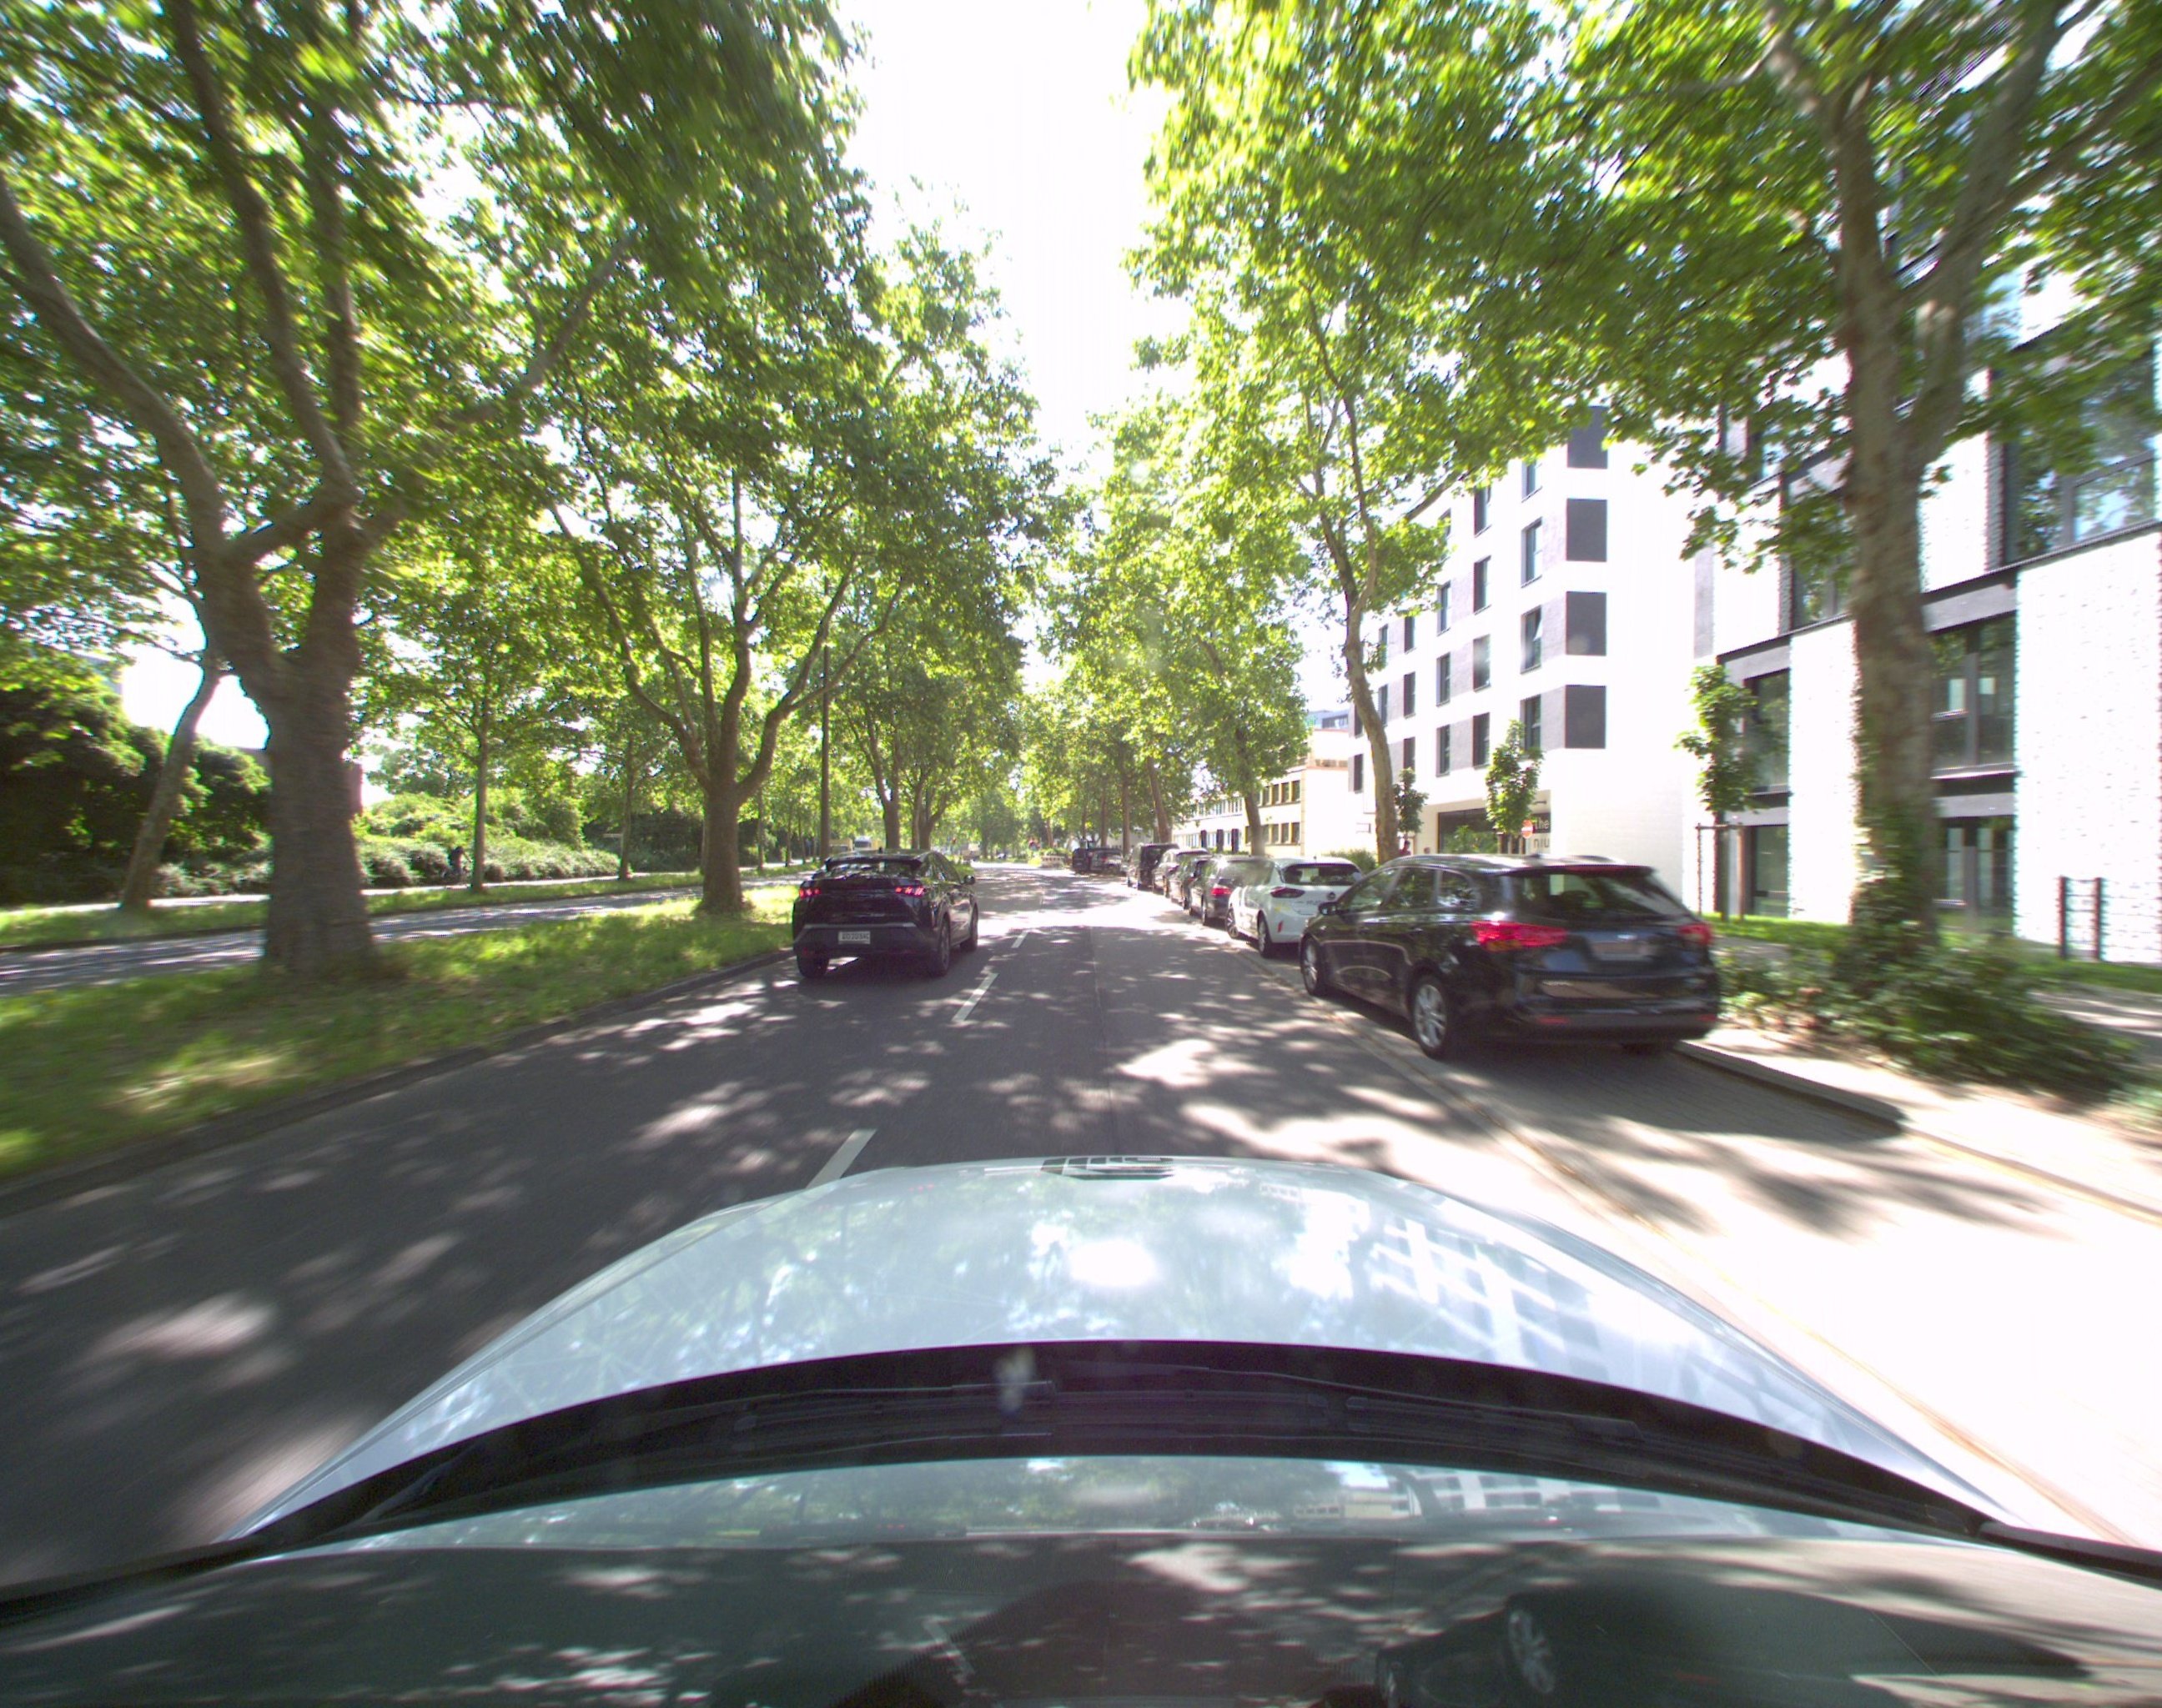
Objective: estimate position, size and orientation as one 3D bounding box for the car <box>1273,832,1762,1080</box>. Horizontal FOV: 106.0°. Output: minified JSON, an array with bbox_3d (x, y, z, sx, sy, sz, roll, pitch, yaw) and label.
[{"bbox_3d":[3.262,0.623,7.371,1.703,1.488,4.713,-1,0,-3],"label":"car"}]

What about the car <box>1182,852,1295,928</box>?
[{"bbox_3d":[3.341,0.705,18.130,1.701,1.455,4.656,0,0,1],"label":"car"}]

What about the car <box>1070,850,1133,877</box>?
[{"bbox_3d":[1.434,0.639,57.531,4.115,1.880,1.772,0,0,-22],"label":"car"}]

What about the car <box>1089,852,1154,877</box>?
[{"bbox_3d":[2.740,0.709,55.645,4.113,1.633,1.701,0,0,-20],"label":"car"}]

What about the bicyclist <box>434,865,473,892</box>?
[{"bbox_3d":[-25.165,0.972,32.677,0.427,1.013,1.425,0,-1,1],"label":"bicyclist"}]

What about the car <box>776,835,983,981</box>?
[{"bbox_3d":[-2.640,0.646,11.812,1.866,1.696,4.435,-1,0,0],"label":"car"}]

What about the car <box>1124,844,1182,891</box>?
[{"bbox_3d":[2.944,0.551,34.291,1.703,1.841,4.719,0,0,-4],"label":"car"}]

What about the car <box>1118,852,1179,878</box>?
[{"bbox_3d":[4.209,0.680,51.040,3.549,1.640,1.655,0,-1,-7],"label":"car"}]

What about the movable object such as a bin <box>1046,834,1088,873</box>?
[{"bbox_3d":[-1.222,-0.062,69.716,2.342,3.241,3.399,0,0,-29],"label":"movable object such as a bin"}]

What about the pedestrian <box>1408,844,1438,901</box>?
[{"bbox_3d":[9.697,0.522,23.117,0.611,1.581,0.570,0,-1,0],"label":"pedestrian"}]

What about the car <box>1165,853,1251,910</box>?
[{"bbox_3d":[3.539,0.722,23.487,1.702,1.488,4.482,0,0,-1],"label":"car"}]

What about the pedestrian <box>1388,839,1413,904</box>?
[{"bbox_3d":[8.979,0.493,22.889,0.474,1.808,0.637,0,-1,0],"label":"pedestrian"}]

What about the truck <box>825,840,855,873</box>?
[{"bbox_3d":[-26.995,0.252,91.389,2.452,3.449,7.070,2,0,-12],"label":"truck"}]

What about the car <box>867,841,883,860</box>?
[{"bbox_3d":[-37.287,-0.563,147.674,2.057,3.434,6.749,0,0,-8],"label":"car"}]

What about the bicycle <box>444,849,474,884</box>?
[{"bbox_3d":[-25.127,0.508,32.917,0.427,1.385,0.955,0,-1,1],"label":"bicycle"}]

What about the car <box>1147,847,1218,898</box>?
[{"bbox_3d":[3.522,0.627,29.048,1.703,1.669,4.527,0,0,-4],"label":"car"}]

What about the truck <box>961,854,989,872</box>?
[{"bbox_3d":[-21.638,1.804,166.065,5.518,3.678,1.996,0,-1,-6],"label":"truck"}]

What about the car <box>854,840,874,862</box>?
[{"bbox_3d":[-36.410,-0.560,136.778,2.450,3.449,7.075,2,0,-10],"label":"car"}]

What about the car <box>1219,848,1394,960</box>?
[{"bbox_3d":[3.351,0.676,12.891,1.701,1.488,4.101,0,0,1],"label":"car"}]
